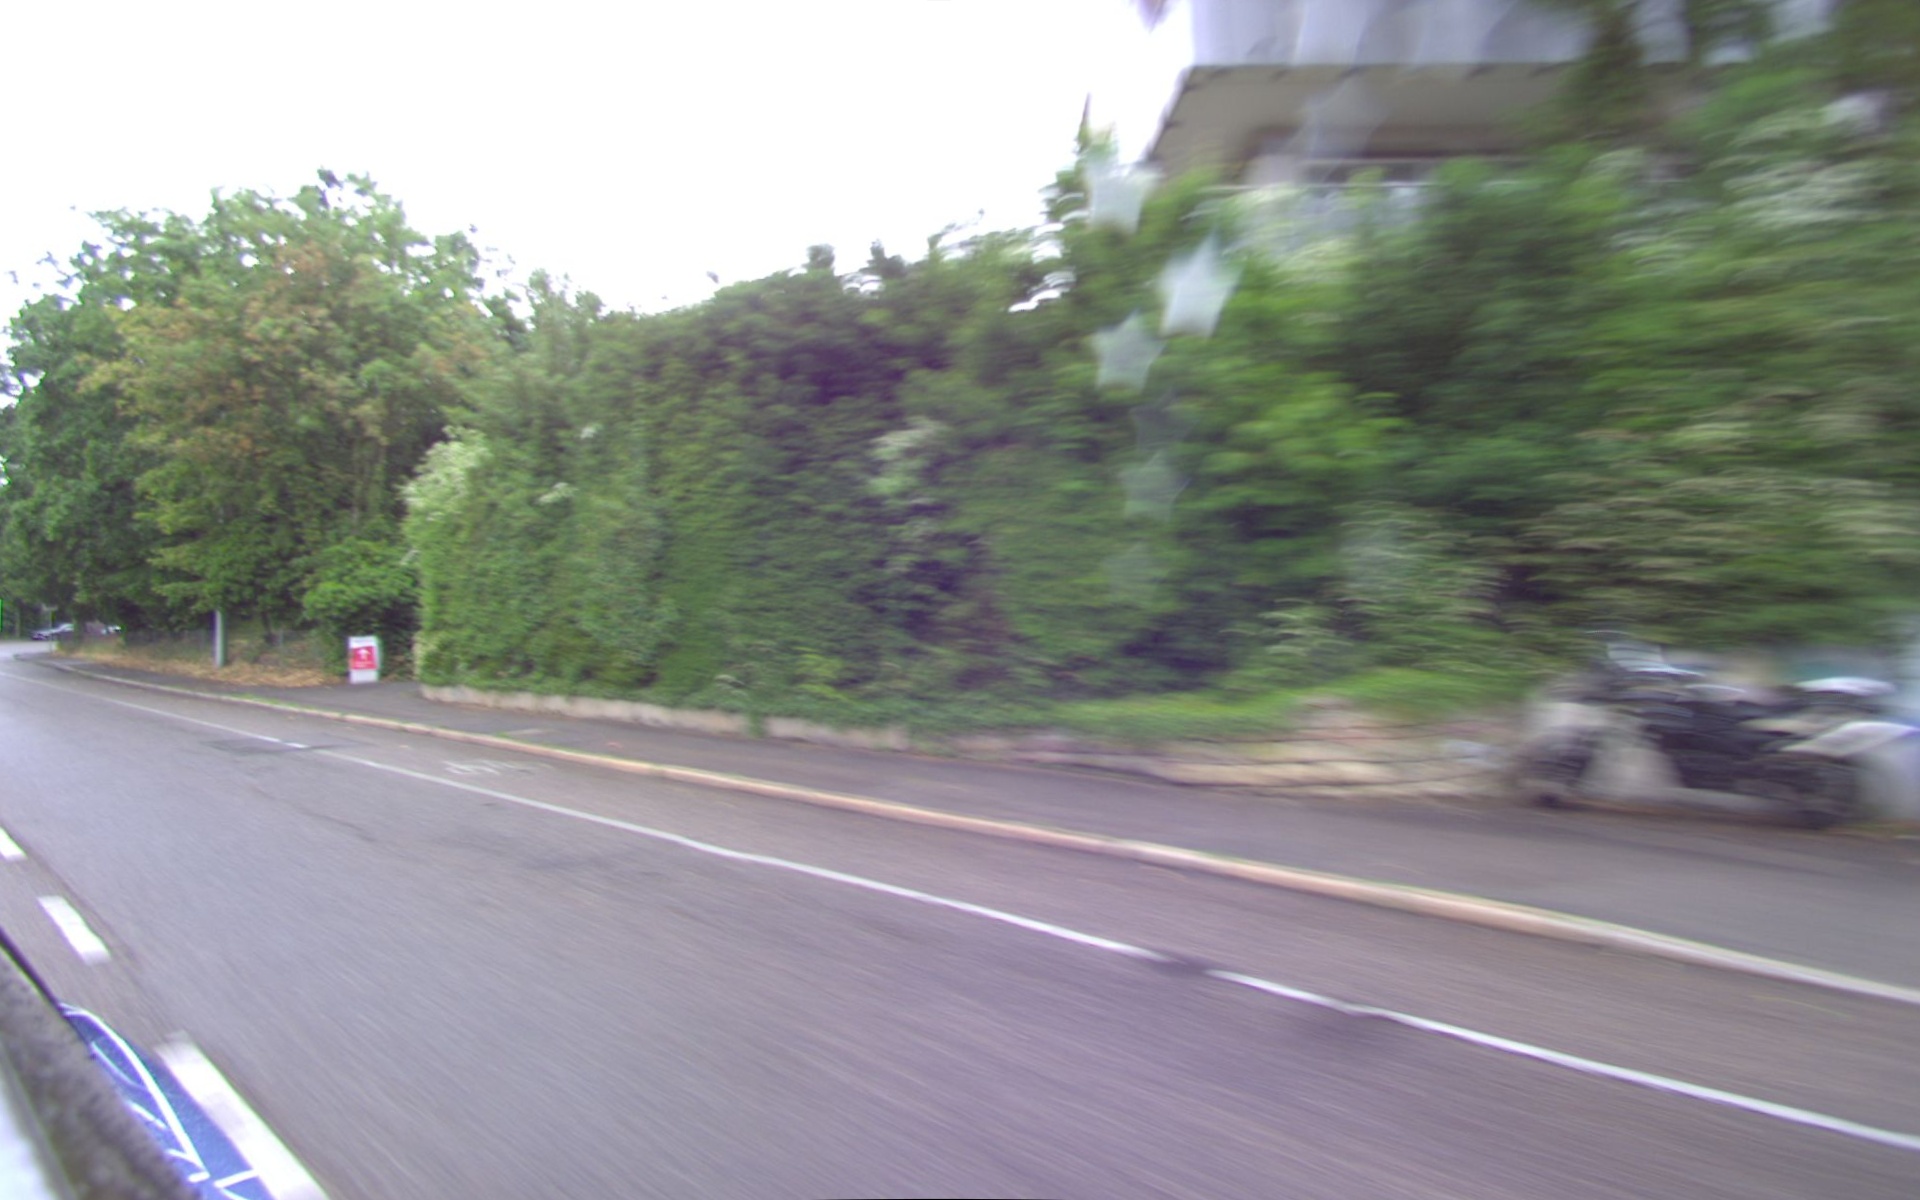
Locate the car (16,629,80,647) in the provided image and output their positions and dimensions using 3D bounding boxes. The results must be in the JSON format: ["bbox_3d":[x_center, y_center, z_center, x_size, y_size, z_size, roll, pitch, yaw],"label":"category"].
[{"bbox_3d":[-78.742,3.259,87.435,1.703,1.455,4.122,0,-1,2],"label":"car"}]

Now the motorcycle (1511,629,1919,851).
[{"bbox_3d":[5.134,0.879,6.991,2.311,1.330,0.612,0,-1,30],"label":"motorcycle"}]
